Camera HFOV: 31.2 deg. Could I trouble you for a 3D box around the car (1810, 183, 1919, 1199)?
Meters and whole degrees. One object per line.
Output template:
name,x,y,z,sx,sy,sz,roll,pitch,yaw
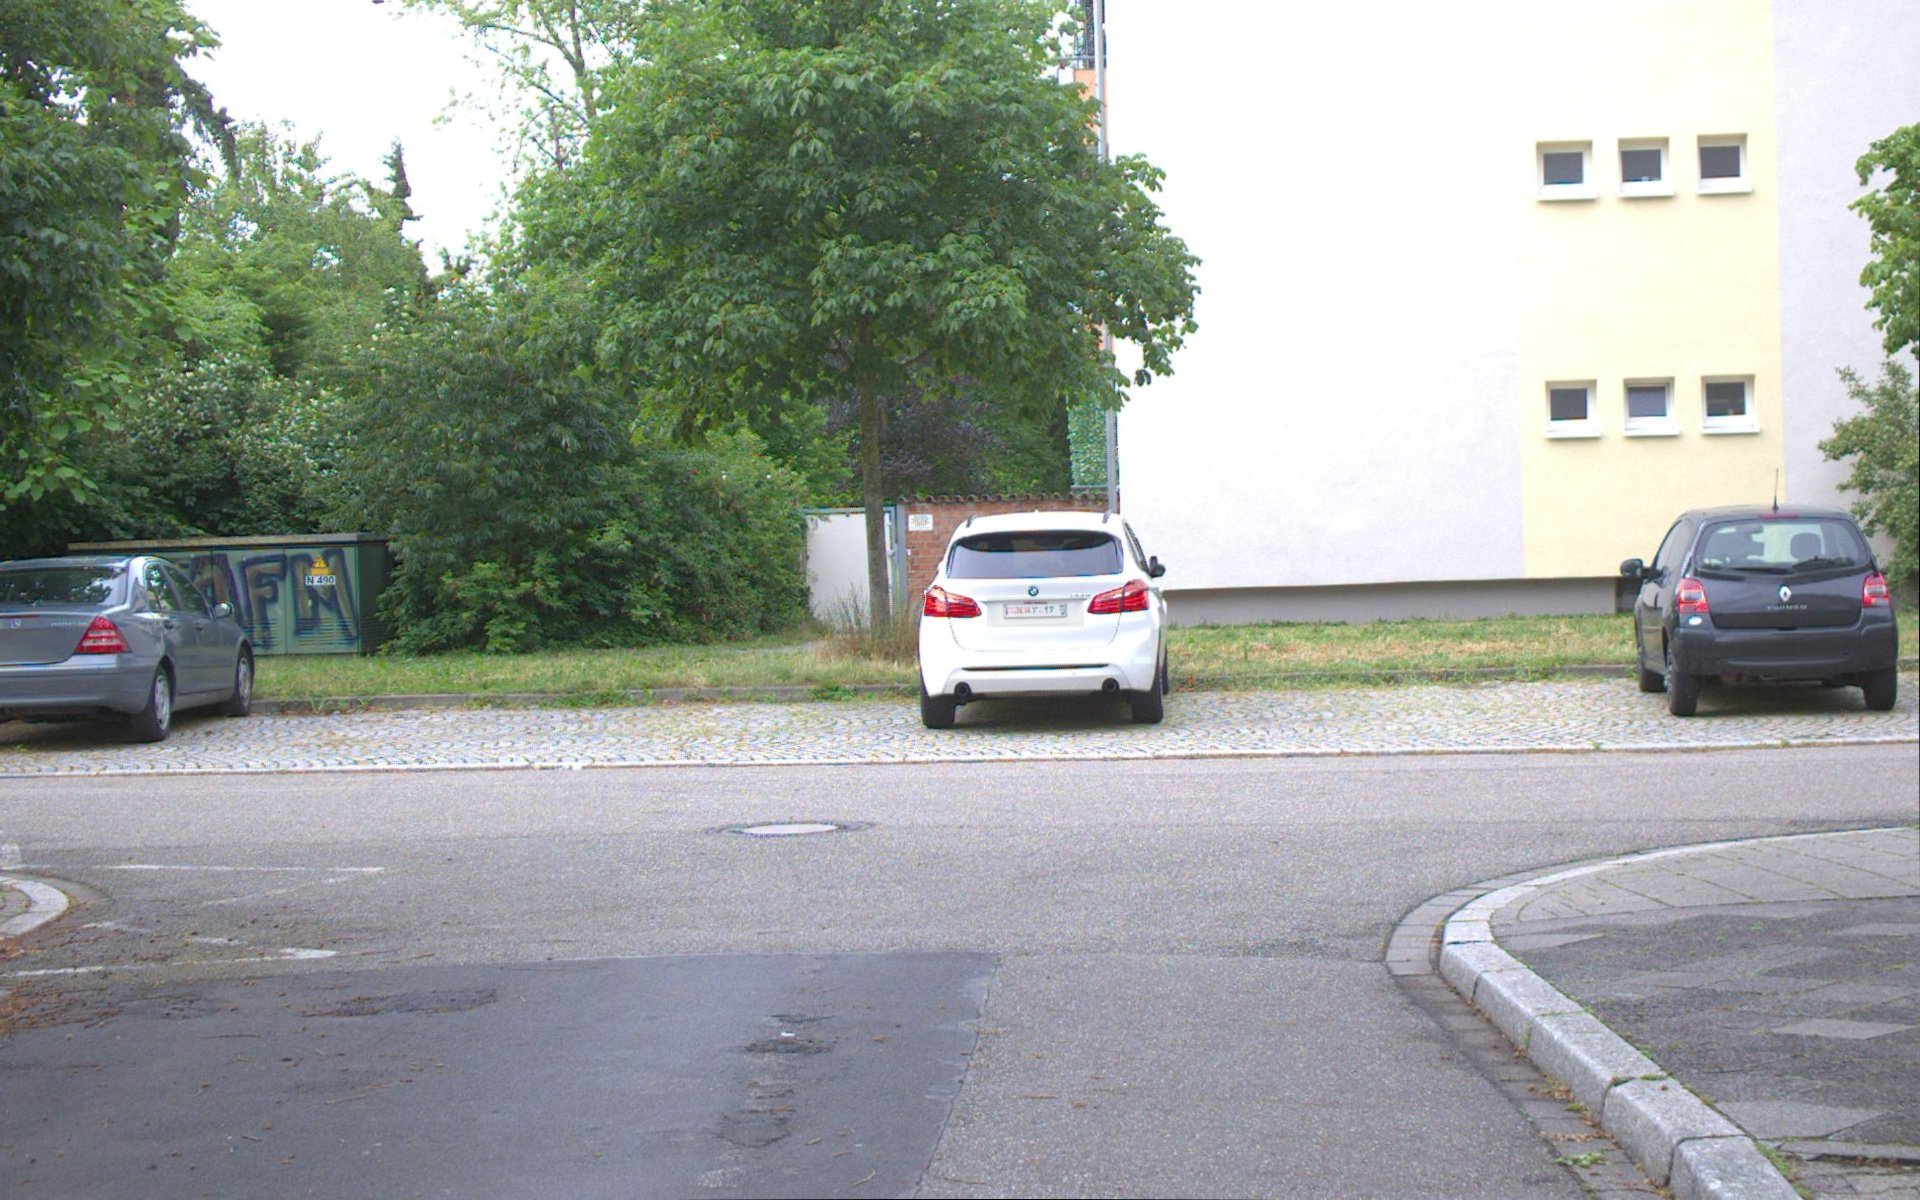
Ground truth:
car,2.644,0.292,4.248,1.878,1.989,5.013,-3,2,0

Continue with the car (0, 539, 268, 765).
car,-6.856,0.352,27.336,1.674,1.449,4.561,-2,3,1

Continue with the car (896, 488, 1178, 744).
car,0.680,0.053,26.597,1.879,1.555,4.149,-1,5,5

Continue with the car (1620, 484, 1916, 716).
car,6.062,-0.067,26.220,1.836,1.458,4.559,-1,3,9
